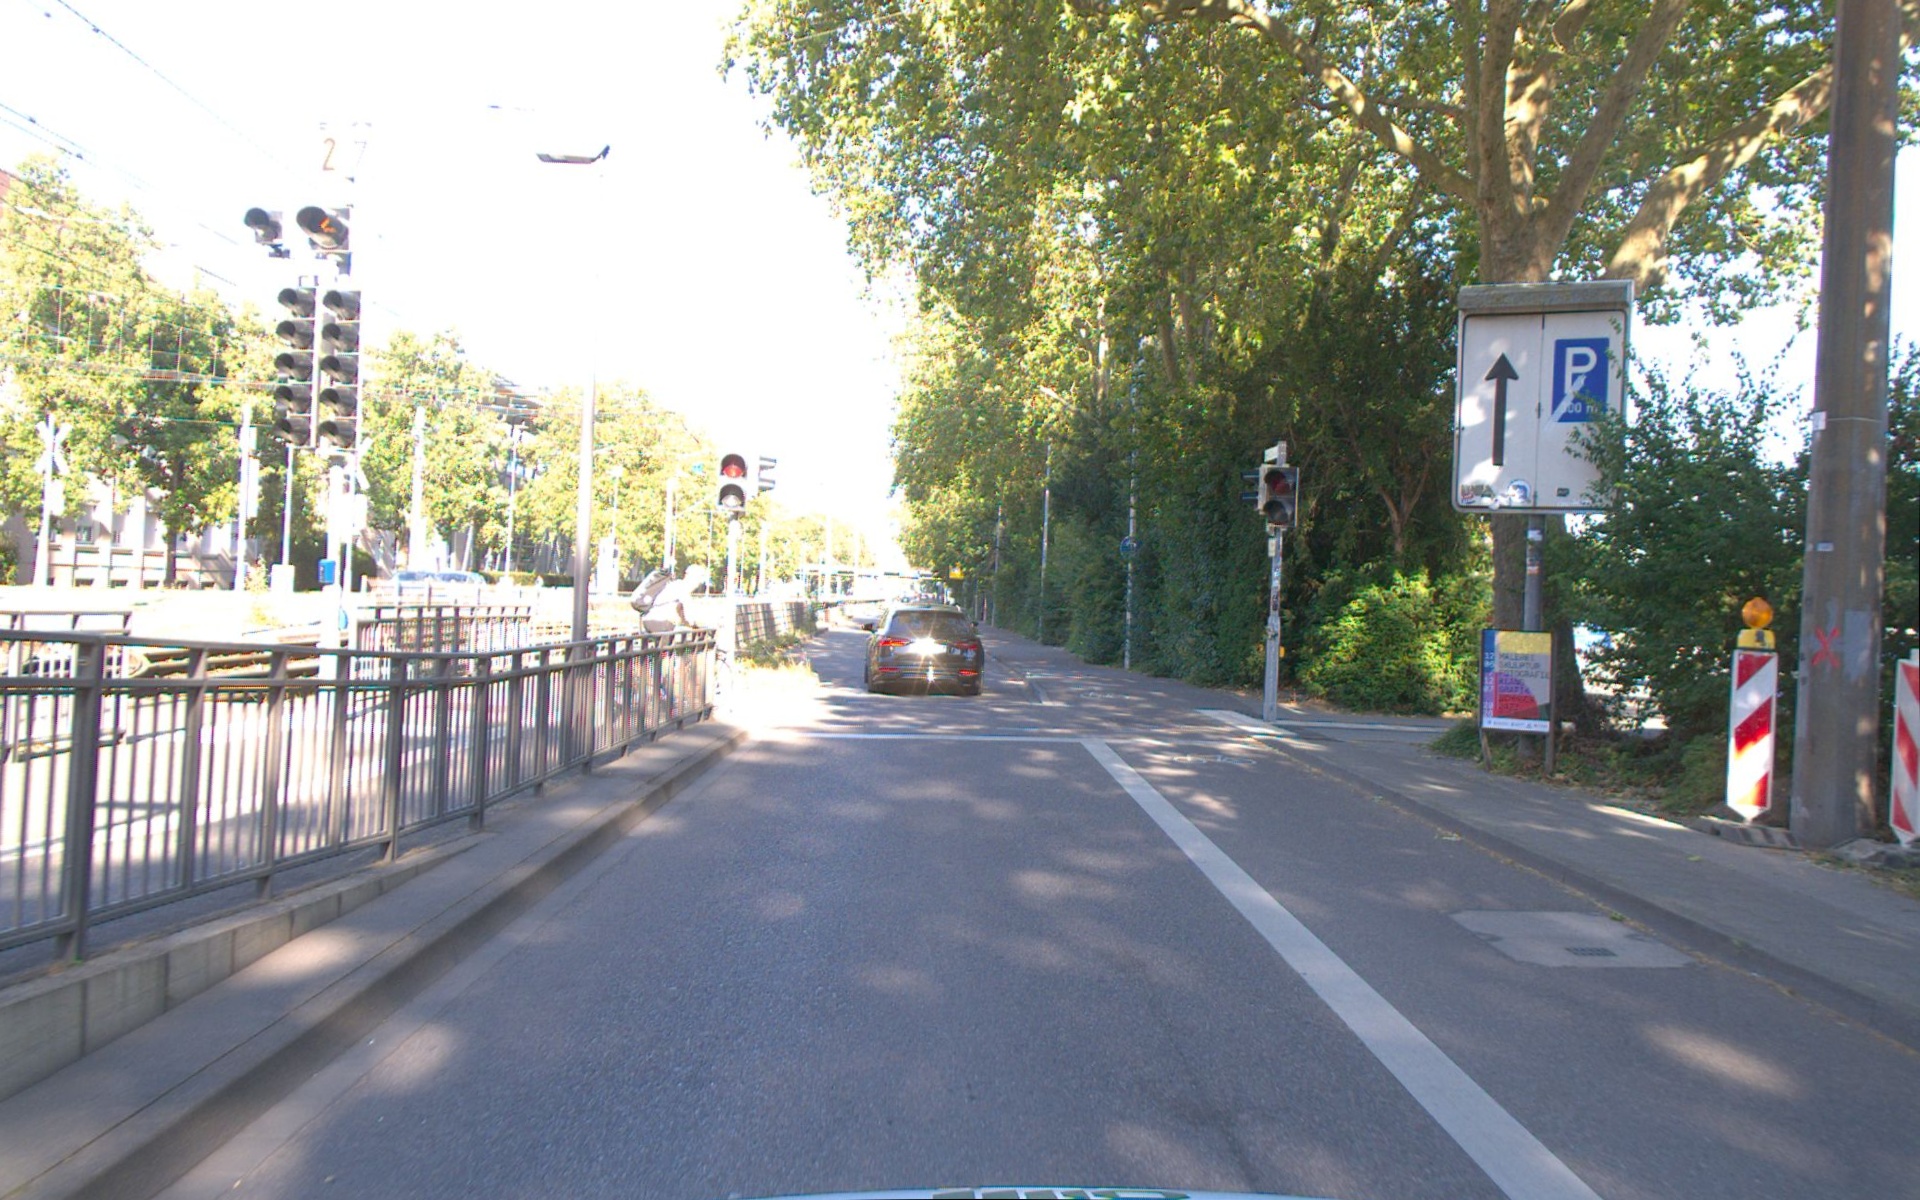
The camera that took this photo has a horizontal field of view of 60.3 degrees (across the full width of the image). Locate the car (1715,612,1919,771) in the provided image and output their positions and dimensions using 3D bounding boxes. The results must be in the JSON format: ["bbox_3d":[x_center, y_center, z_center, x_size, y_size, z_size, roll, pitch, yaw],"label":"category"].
[{"bbox_3d":[9.932,0.950,17.017,3.521,1.488,1.678,2,0,-1],"label":"car"}]

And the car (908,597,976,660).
[{"bbox_3d":[-0.564,0.792,47.893,1.728,1.647,3.997,2,0,-4],"label":"car"}]

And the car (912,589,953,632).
[{"bbox_3d":[-1.392,0.510,83.164,1.953,2.049,3.999,2,0,-1],"label":"car"}]

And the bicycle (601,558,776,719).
[{"bbox_3d":[-3.075,0.442,18.887,0.581,1.746,1.959,2,0,44],"label":"bicycle"}]

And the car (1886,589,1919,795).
[{"bbox_3d":[10.366,0.891,14.069,3.906,1.795,1.833,3,0,-1],"label":"car"}]

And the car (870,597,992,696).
[{"bbox_3d":[-0.542,0.719,27.157,1.841,1.482,3.354,1,0,-4],"label":"car"}]

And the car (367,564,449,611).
[{"bbox_3d":[-20.458,-0.439,61.428,1.705,1.574,3.999,3,0,-2],"label":"car"}]

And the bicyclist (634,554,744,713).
[{"bbox_3d":[-3.093,0.381,18.867,0.758,1.746,0.903,2,0,44],"label":"bicyclist"}]
